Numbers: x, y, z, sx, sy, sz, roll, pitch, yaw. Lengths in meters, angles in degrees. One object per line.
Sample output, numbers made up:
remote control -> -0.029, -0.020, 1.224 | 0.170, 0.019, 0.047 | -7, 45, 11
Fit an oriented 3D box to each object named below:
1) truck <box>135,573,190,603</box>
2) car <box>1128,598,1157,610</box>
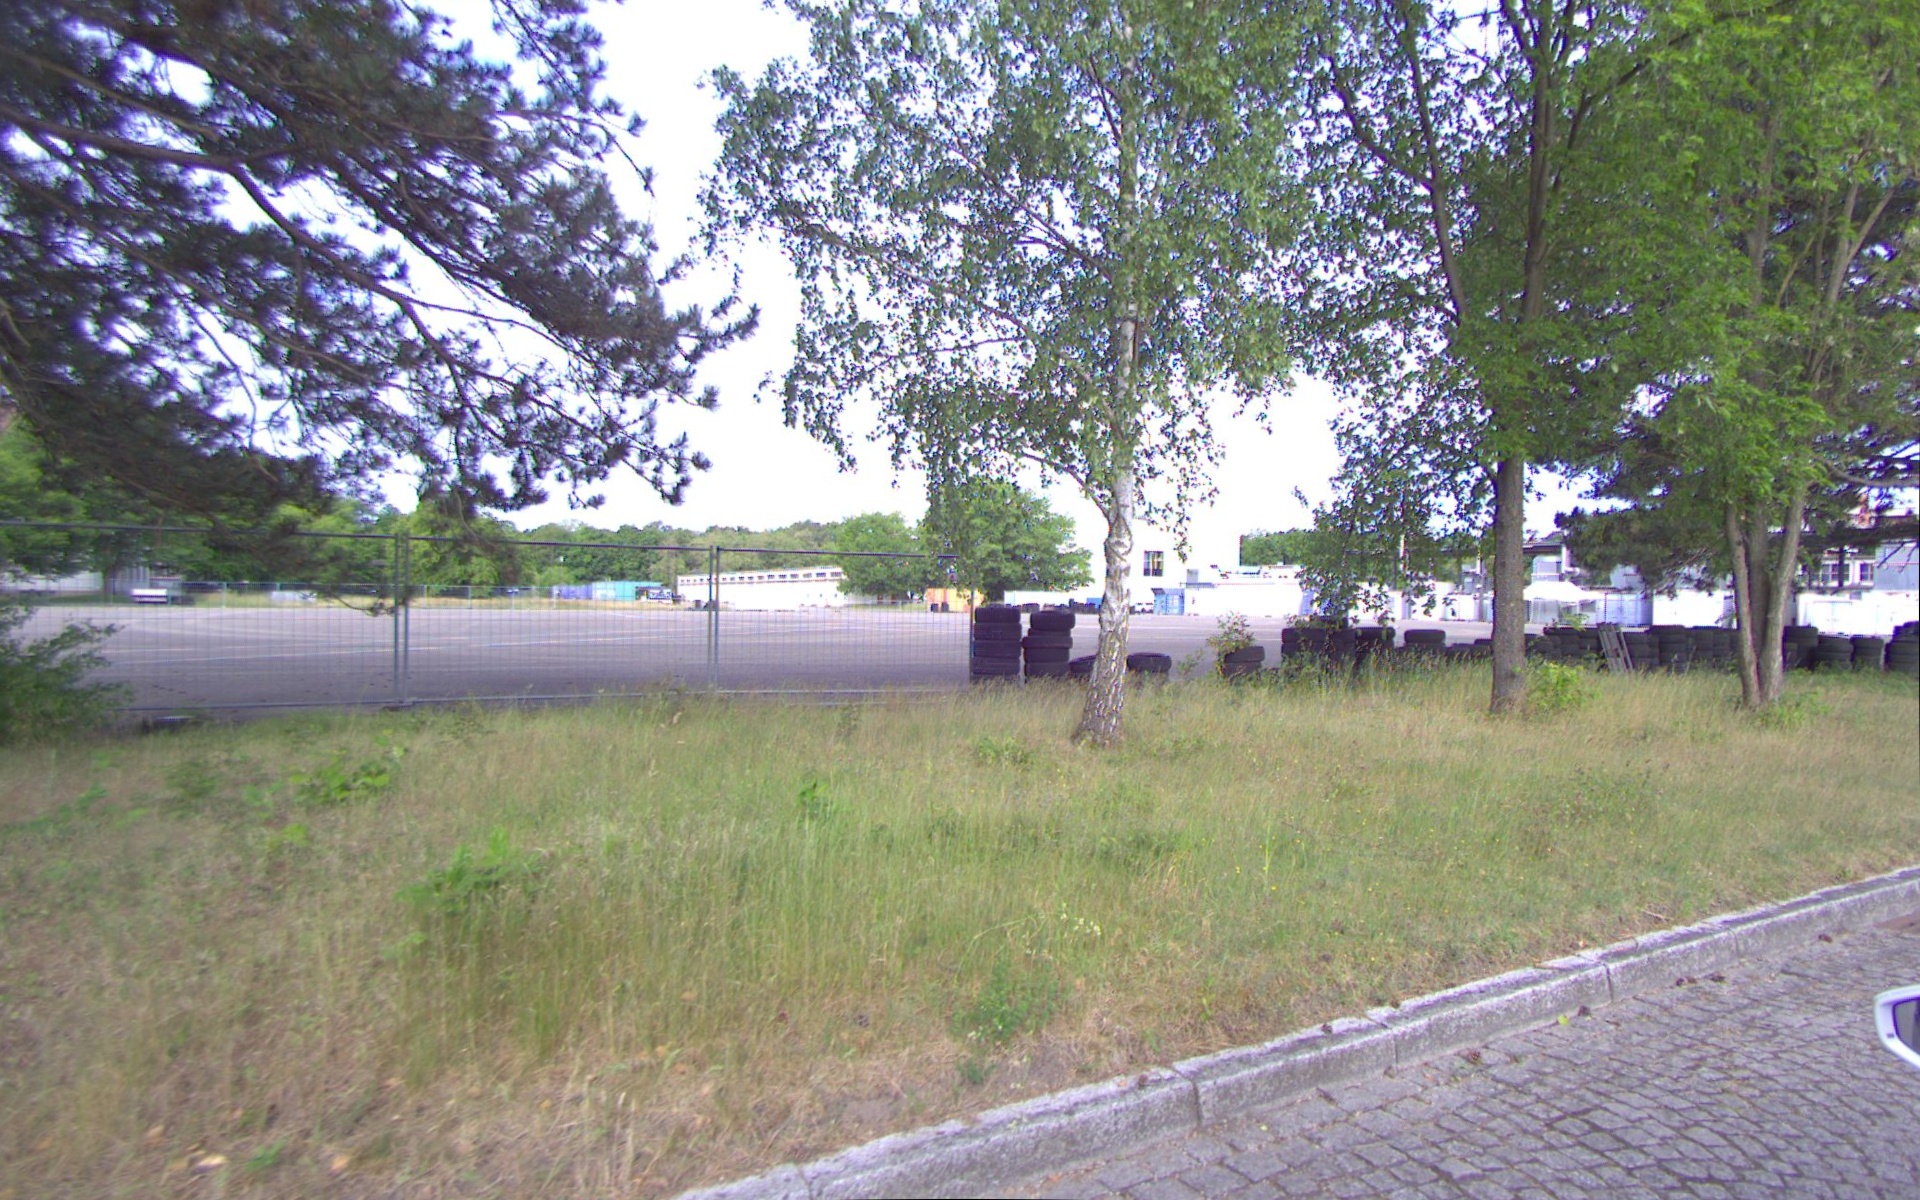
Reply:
truck -> -64.105, -0.957, 80.897 | 2.345, 2.227, 6.505 | 1, 0, -29
car -> 23.551, 0.525, 129.770 | 1.611, 1.553, 3.947 | 1, 0, -30
